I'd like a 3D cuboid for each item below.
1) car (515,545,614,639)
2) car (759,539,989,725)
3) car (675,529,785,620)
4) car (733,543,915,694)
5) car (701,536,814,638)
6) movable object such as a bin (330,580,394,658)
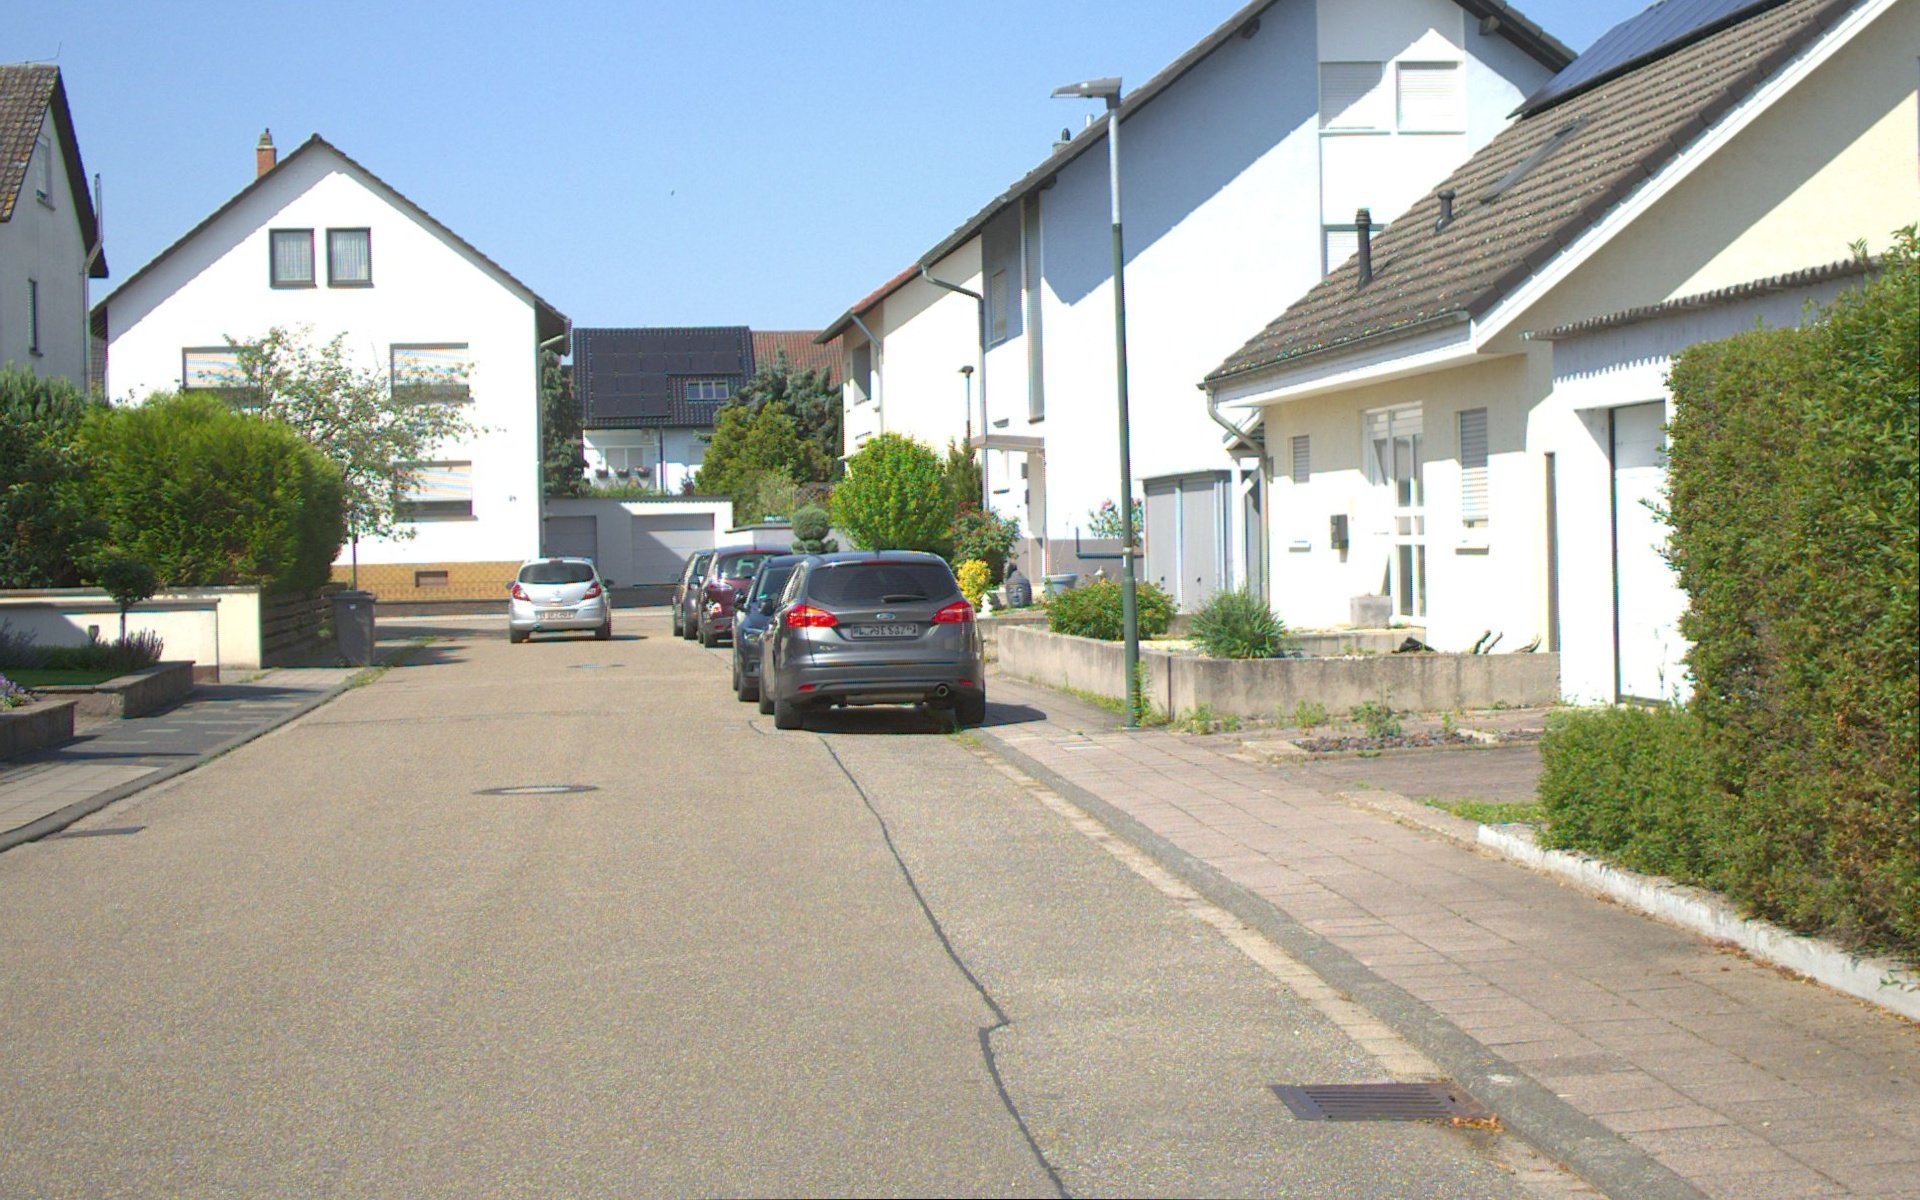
[{"bbox_3d":[-6.992,-0.171,61.030,1.645,1.576,3.810,-2,1,-6],"label":"car"},{"bbox_3d":[-0.818,0.229,30.091,1.642,1.473,4.001,0,1,-7],"label":"car"},{"bbox_3d":[-4.135,-0.478,61.423,1.645,1.540,4.049,-2,1,-8],"label":"car"},{"bbox_3d":[-1.481,0.147,35.934,1.717,1.433,4.503,-1,1,-4],"label":"car"},{"bbox_3d":[-3.360,-0.246,56.396,1.645,1.576,4.148,-2,1,-6],"label":"car"},{"bbox_3d":[-8.382,0.264,48.231,0.818,1.060,0.611,-2,1,-6],"label":"movable object such as a bin"}]
